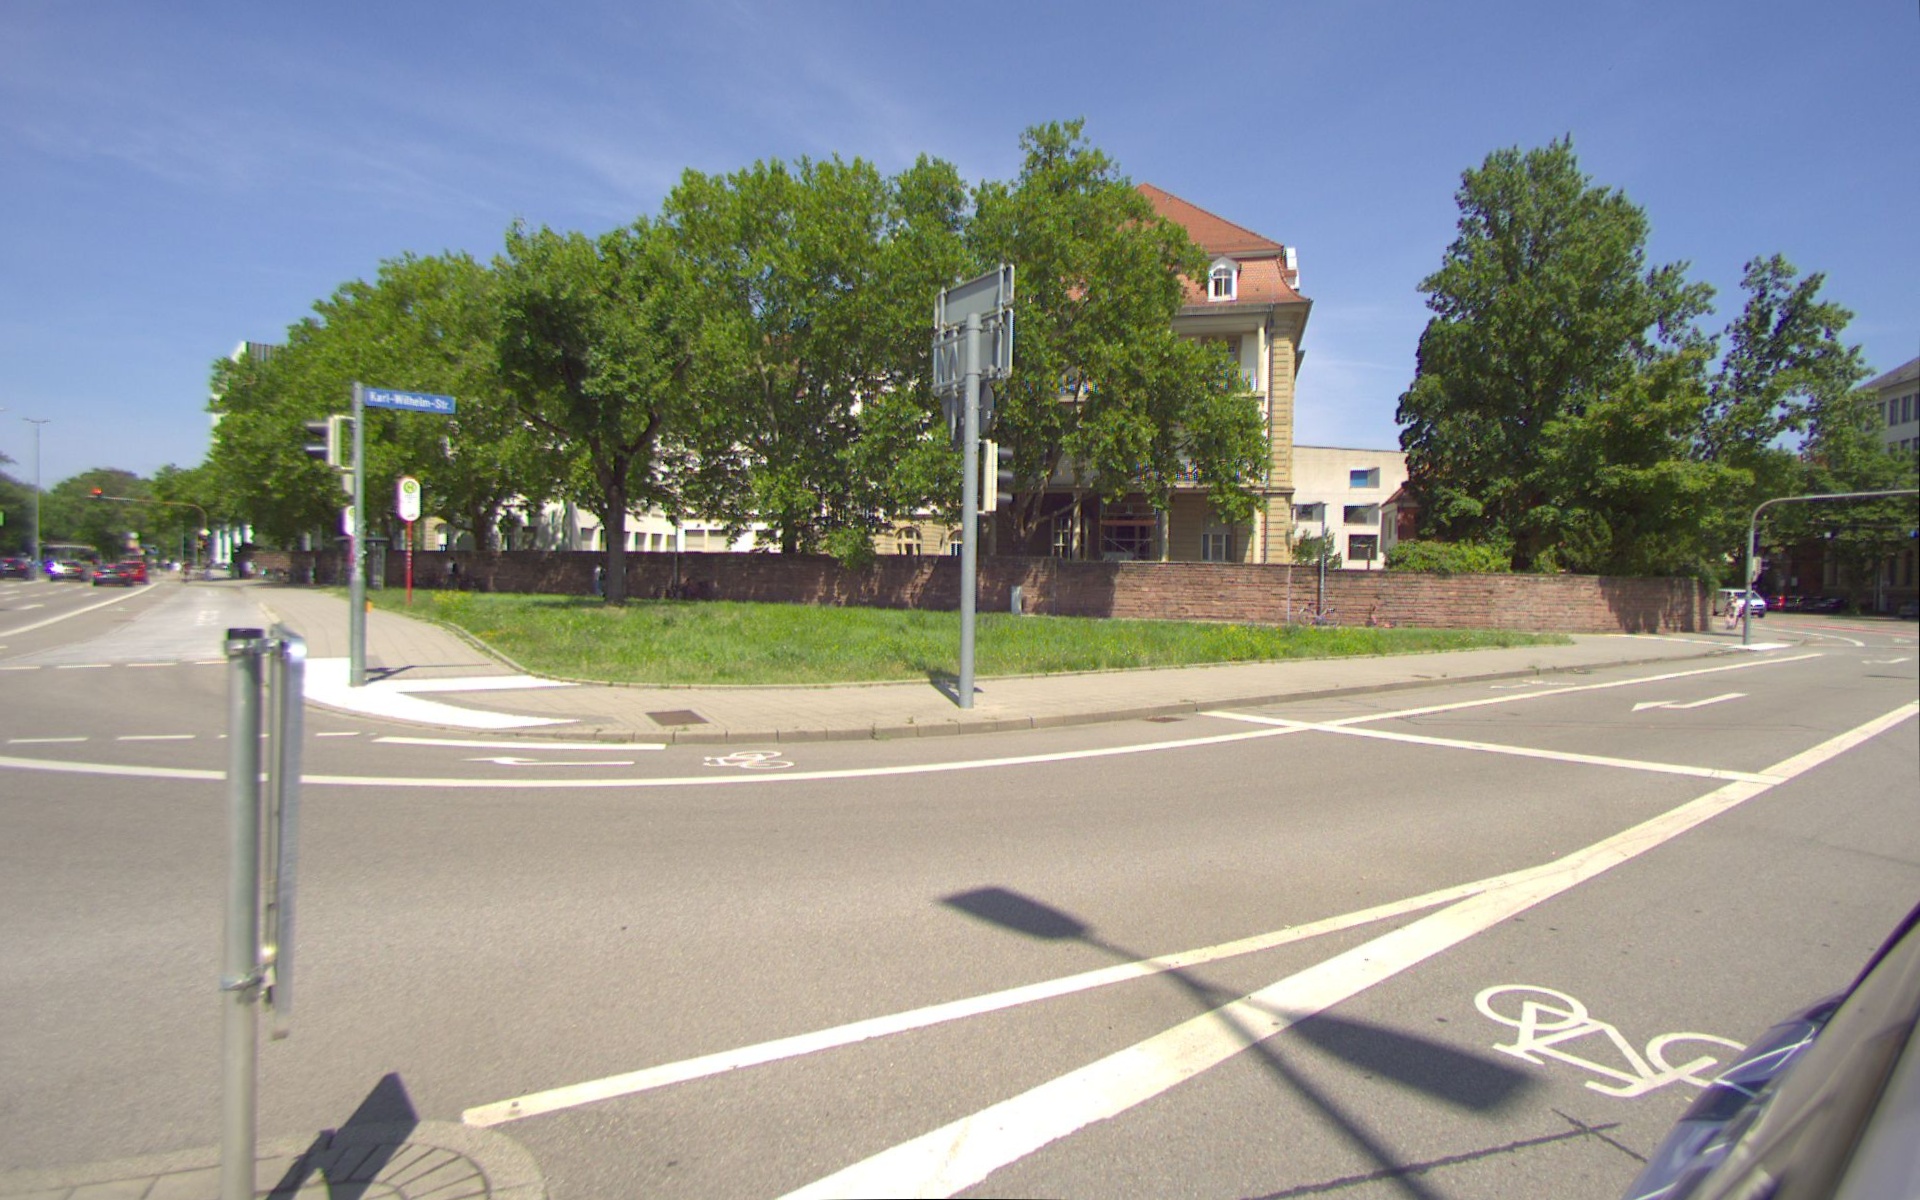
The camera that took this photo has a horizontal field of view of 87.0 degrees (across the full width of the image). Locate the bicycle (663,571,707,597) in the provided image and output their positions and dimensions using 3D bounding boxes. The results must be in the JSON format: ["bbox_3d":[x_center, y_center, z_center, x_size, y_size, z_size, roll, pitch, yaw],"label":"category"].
[{"bbox_3d":[-12.766,-0.727,46.959,2.144,1.197,0.454,0,0,23],"label":"bicycle"}]

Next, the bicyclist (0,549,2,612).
[{"bbox_3d":[-29.666,-0.574,30.773,1.134,1.911,0.698,-1,-1,42],"label":"bicyclist"}]

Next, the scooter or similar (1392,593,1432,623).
[{"bbox_3d":[17.062,0.300,38.198,1.323,1.123,0.375,0,-1,-2],"label":"scooter or similar"}]

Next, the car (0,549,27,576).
[{"bbox_3d":[-62.707,-2.444,66.579,1.747,1.689,3.994,0,0,-40],"label":"car"}]

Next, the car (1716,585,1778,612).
[{"bbox_3d":[56.834,-0.086,73.173,1.682,1.887,4.247,0,0,11],"label":"car"}]

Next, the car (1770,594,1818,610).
[{"bbox_3d":[77.124,0.209,93.600,3.504,1.471,1.619,0,0,-13],"label":"car"}]

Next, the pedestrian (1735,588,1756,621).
[{"bbox_3d":[39.307,0.222,50.639,0.597,1.631,0.555,4,1,18],"label":"pedestrian"}]

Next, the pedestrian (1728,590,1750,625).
[{"bbox_3d":[37.780,0.360,49.106,0.597,1.631,0.555,4,1,18],"label":"pedestrian"}]

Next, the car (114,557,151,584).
[{"bbox_3d":[-56.360,-1.960,68.958,1.748,1.705,3.998,0,0,-36],"label":"car"}]

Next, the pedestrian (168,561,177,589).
[{"bbox_3d":[-58.364,-1.841,74.986,0.540,2.039,0.536,0,-1,-39],"label":"pedestrian"}]

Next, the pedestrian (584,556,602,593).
[{"bbox_3d":[-17.456,-1.222,48.149,0.521,1.743,0.584,-1,-1,26],"label":"pedestrian"}]

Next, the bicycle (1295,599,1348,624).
[{"bbox_3d":[13.622,0.432,38.119,1.744,0.940,0.678,0,0,5],"label":"bicycle"}]

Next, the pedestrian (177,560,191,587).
[{"bbox_3d":[-58.153,-1.987,75.855,0.775,2.039,0.963,0,-1,-39],"label":"pedestrian"}]

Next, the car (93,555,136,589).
[{"bbox_3d":[-53.037,-1.726,63.549,1.964,2.039,4.210,0,0,-38],"label":"car"}]

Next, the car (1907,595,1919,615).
[{"bbox_3d":[71.751,0.345,74.247,3.089,1.481,1.572,0,0,-2],"label":"car"}]

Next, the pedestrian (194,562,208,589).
[{"bbox_3d":[-57.431,-1.849,76.580,0.775,2.039,0.839,0,-1,-39],"label":"pedestrian"}]

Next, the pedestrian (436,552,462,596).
[{"bbox_3d":[-27.459,-1.395,54.399,1.066,2.320,0.840,-1,-1,31],"label":"pedestrian"}]

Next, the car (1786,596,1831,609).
[{"bbox_3d":[75.706,0.223,90.316,2.931,1.113,1.281,0,0,-2],"label":"car"}]

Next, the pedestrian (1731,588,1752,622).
[{"bbox_3d":[40.342,0.250,52.225,0.597,1.734,0.555,4,1,17],"label":"pedestrian"}]

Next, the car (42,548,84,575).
[{"bbox_3d":[-60.581,-2.574,68.373,1.748,1.705,3.998,0,0,-36],"label":"car"}]
